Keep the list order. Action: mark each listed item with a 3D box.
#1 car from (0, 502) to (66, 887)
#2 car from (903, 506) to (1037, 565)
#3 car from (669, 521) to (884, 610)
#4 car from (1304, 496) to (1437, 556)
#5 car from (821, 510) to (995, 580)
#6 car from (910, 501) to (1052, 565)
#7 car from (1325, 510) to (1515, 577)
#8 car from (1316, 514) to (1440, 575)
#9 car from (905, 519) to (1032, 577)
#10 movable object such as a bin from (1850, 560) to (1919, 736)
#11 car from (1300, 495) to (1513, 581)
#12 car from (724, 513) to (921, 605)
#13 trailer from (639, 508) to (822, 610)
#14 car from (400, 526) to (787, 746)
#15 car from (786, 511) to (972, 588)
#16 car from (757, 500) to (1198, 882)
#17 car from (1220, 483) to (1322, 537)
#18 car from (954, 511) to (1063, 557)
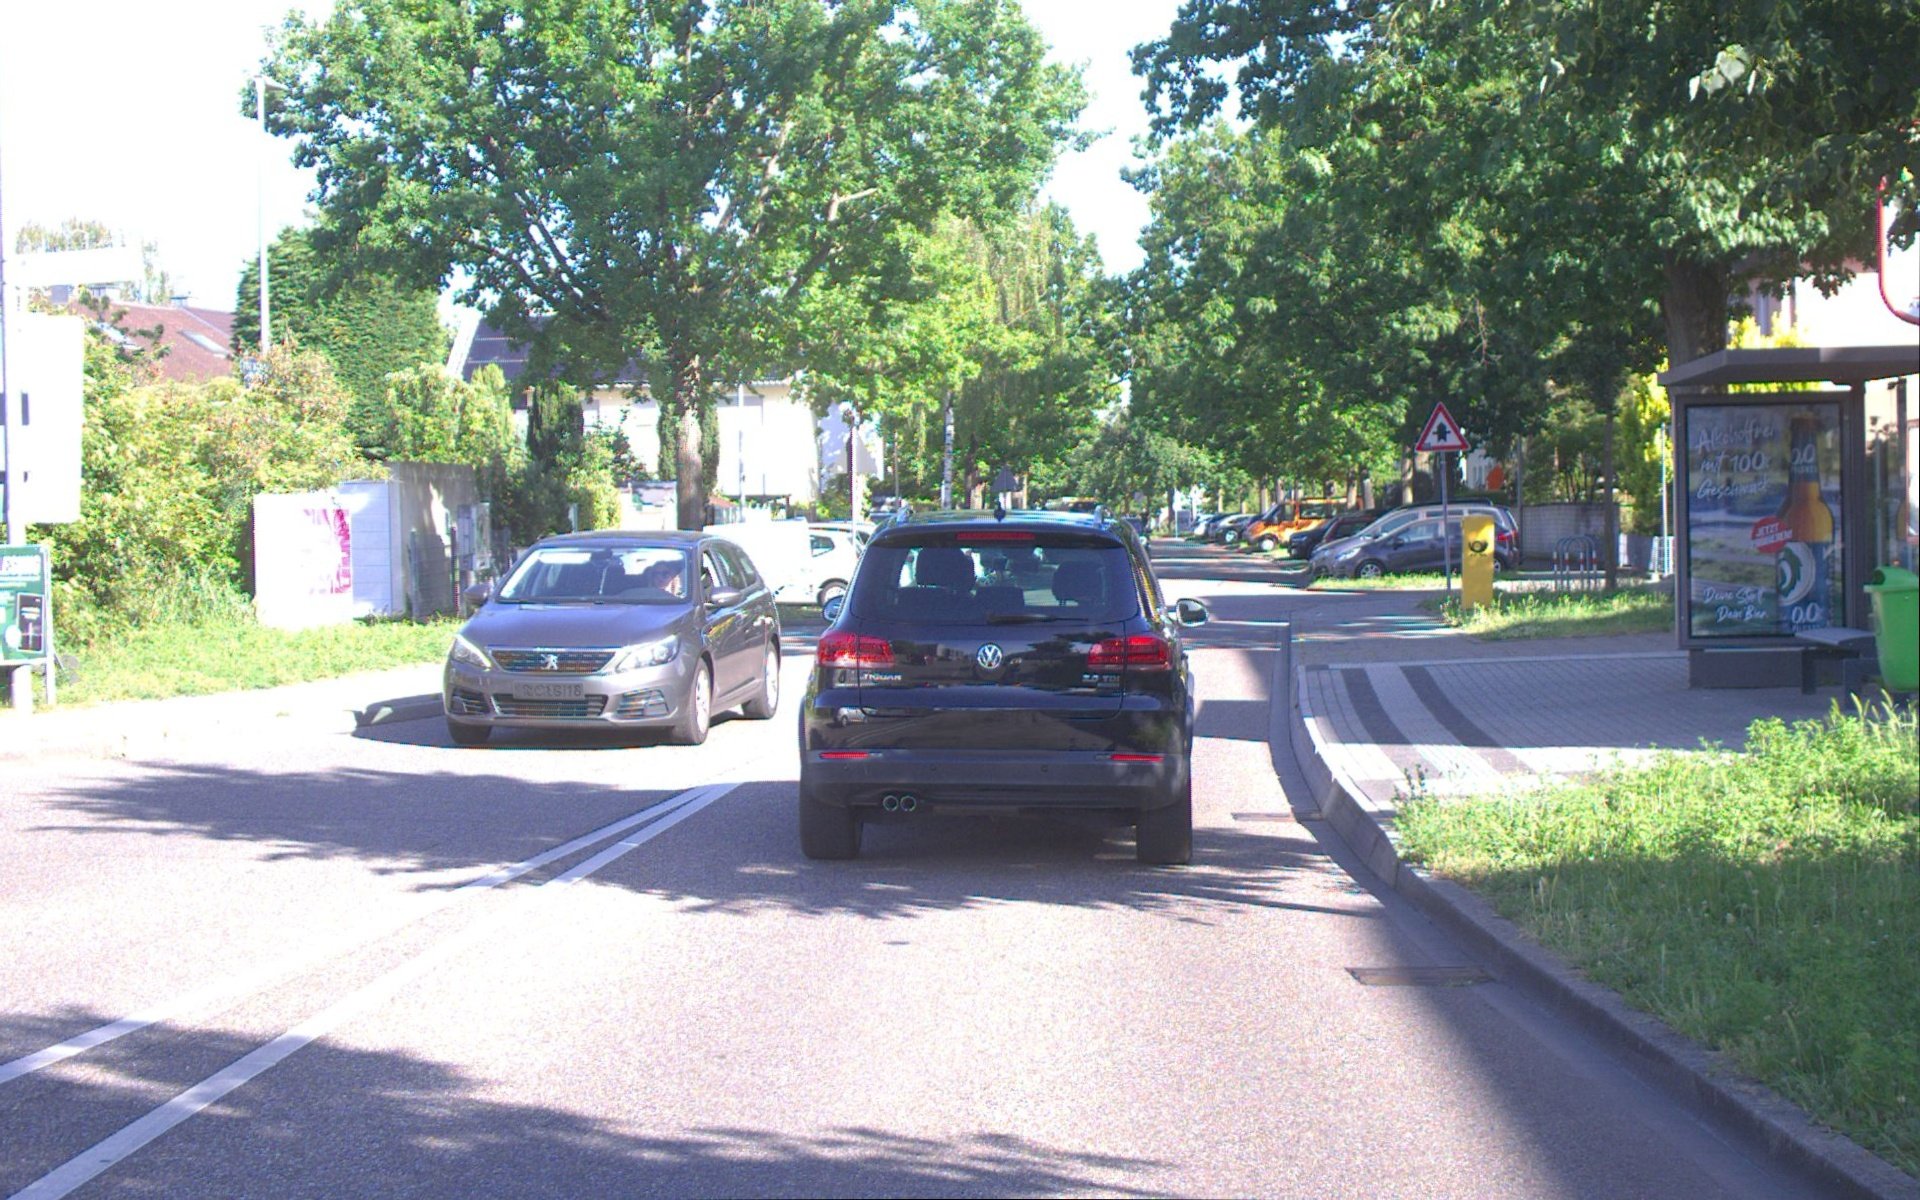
[{"bbox_3d":[-5.350,0.420,12.736,2.210,1.585,4.532,0,1,11],"label":"car"},{"bbox_3d":[0.316,-1.974,105.310,3.987,1.714,1.820,-1,0,4],"label":"car"},{"bbox_3d":[-3.217,-0.616,60.795,3.549,1.472,1.808,-1,1,5],"label":"car"},{"bbox_3d":[12.617,-2.279,105.714,3.988,1.769,1.789,-1,1,5],"label":"car"},{"bbox_3d":[-1.245,-1.338,83.519,3.988,1.634,2.000,-1,1,6],"label":"car"},{"bbox_3d":[0.652,-2.102,107.760,4.390,1.932,1.578,-1,0,1],"label":"car"},{"bbox_3d":[10.030,-1.236,75.193,3.987,1.364,1.846,-1,1,5],"label":"car"},{"bbox_3d":[10.877,-1.447,89.521,3.044,1.502,1.247,-1,1,-1],"label":"car"},{"bbox_3d":[0.236,-1.418,92.777,3.371,1.485,1.644,-1,1,1],"label":"car"},{"bbox_3d":[5.554,0.277,20.355,0.368,1.012,0.600,-1,1,-5],"label":"movable object such as a bin"},{"bbox_3d":[10.056,-1.402,77.694,4.633,1.803,1.824,-1,1,5],"label":"car"},{"bbox_3d":[-2.512,-0.773,63.419,3.549,1.608,1.853,-1,1,-1],"label":"car"},{"bbox_3d":[-3.892,-0.698,58.482,2.967,1.650,1.396,-1,1,1],"label":"trailer"},{"bbox_3d":[-2.570,0.191,25.205,1.994,1.438,4.450,1,1,5],"label":"car"},{"bbox_3d":[-1.815,-1.160,78.212,3.988,1.664,2.000,-1,1,6],"label":"car"},{"bbox_3d":[0.098,0.337,17.448,1.929,1.648,4.515,1,2,1],"label":"car"},{"bbox_3d":[12.440,-3.582,137.585,3.988,2.007,1.999,-1,-1,5],"label":"car"},{"bbox_3d":[1.844,-2.516,130.722,3.986,1.678,1.923,-1,1,-3],"label":"car"}]
